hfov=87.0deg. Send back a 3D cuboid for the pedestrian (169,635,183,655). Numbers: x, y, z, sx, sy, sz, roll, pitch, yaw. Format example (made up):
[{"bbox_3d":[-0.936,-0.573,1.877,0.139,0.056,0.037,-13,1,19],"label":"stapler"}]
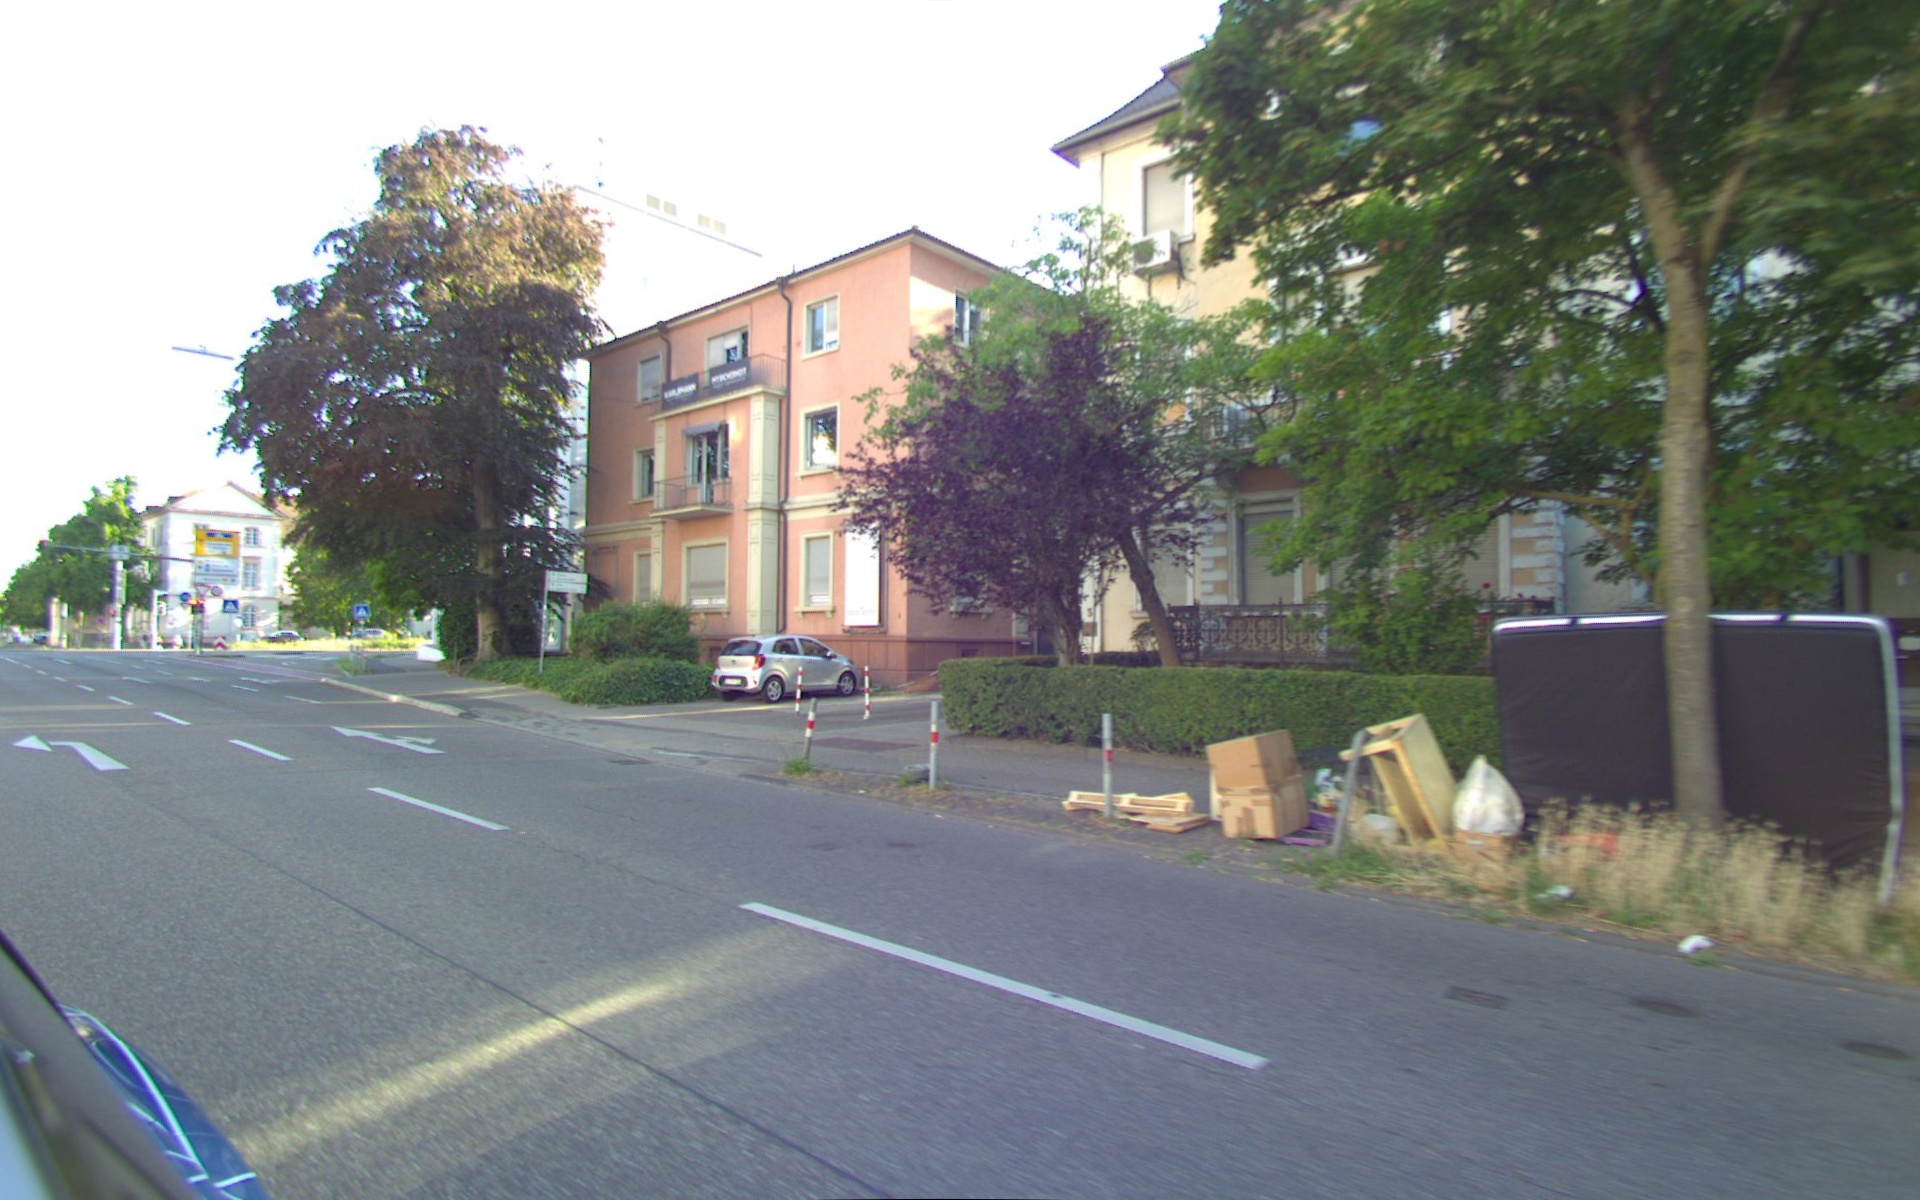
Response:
[{"bbox_3d":[-66.076,3.816,85.283,0.880,1.663,0.671,-2,-3,33],"label":"pedestrian"}]

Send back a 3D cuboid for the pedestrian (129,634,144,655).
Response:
[{"bbox_3d":[-70.882,3.836,87.092,1.081,1.721,0.671,-2,-3,33],"label":"pedestrian"}]

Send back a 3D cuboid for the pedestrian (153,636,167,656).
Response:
[{"bbox_3d":[-66.761,3.874,84.423,0.887,1.663,0.614,-2,-3,33],"label":"pedestrian"}]

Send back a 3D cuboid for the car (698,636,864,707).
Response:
[{"bbox_3d":[-4.058,1.607,23.312,1.813,1.497,3.464,-2,-4,38],"label":"car"}]

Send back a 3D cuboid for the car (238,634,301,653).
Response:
[{"bbox_3d":[-53.372,3.385,78.244,1.997,1.457,3.601,-2,-3,37],"label":"car"}]

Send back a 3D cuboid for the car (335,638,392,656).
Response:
[{"bbox_3d":[-49.543,3.907,84.046,1.997,1.457,3.601,-2,-3,37],"label":"car"}]

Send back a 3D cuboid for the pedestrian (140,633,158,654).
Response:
[{"bbox_3d":[-70.533,3.791,87.996,1.166,1.863,0.811,-2,-3,33],"label":"pedestrian"}]
